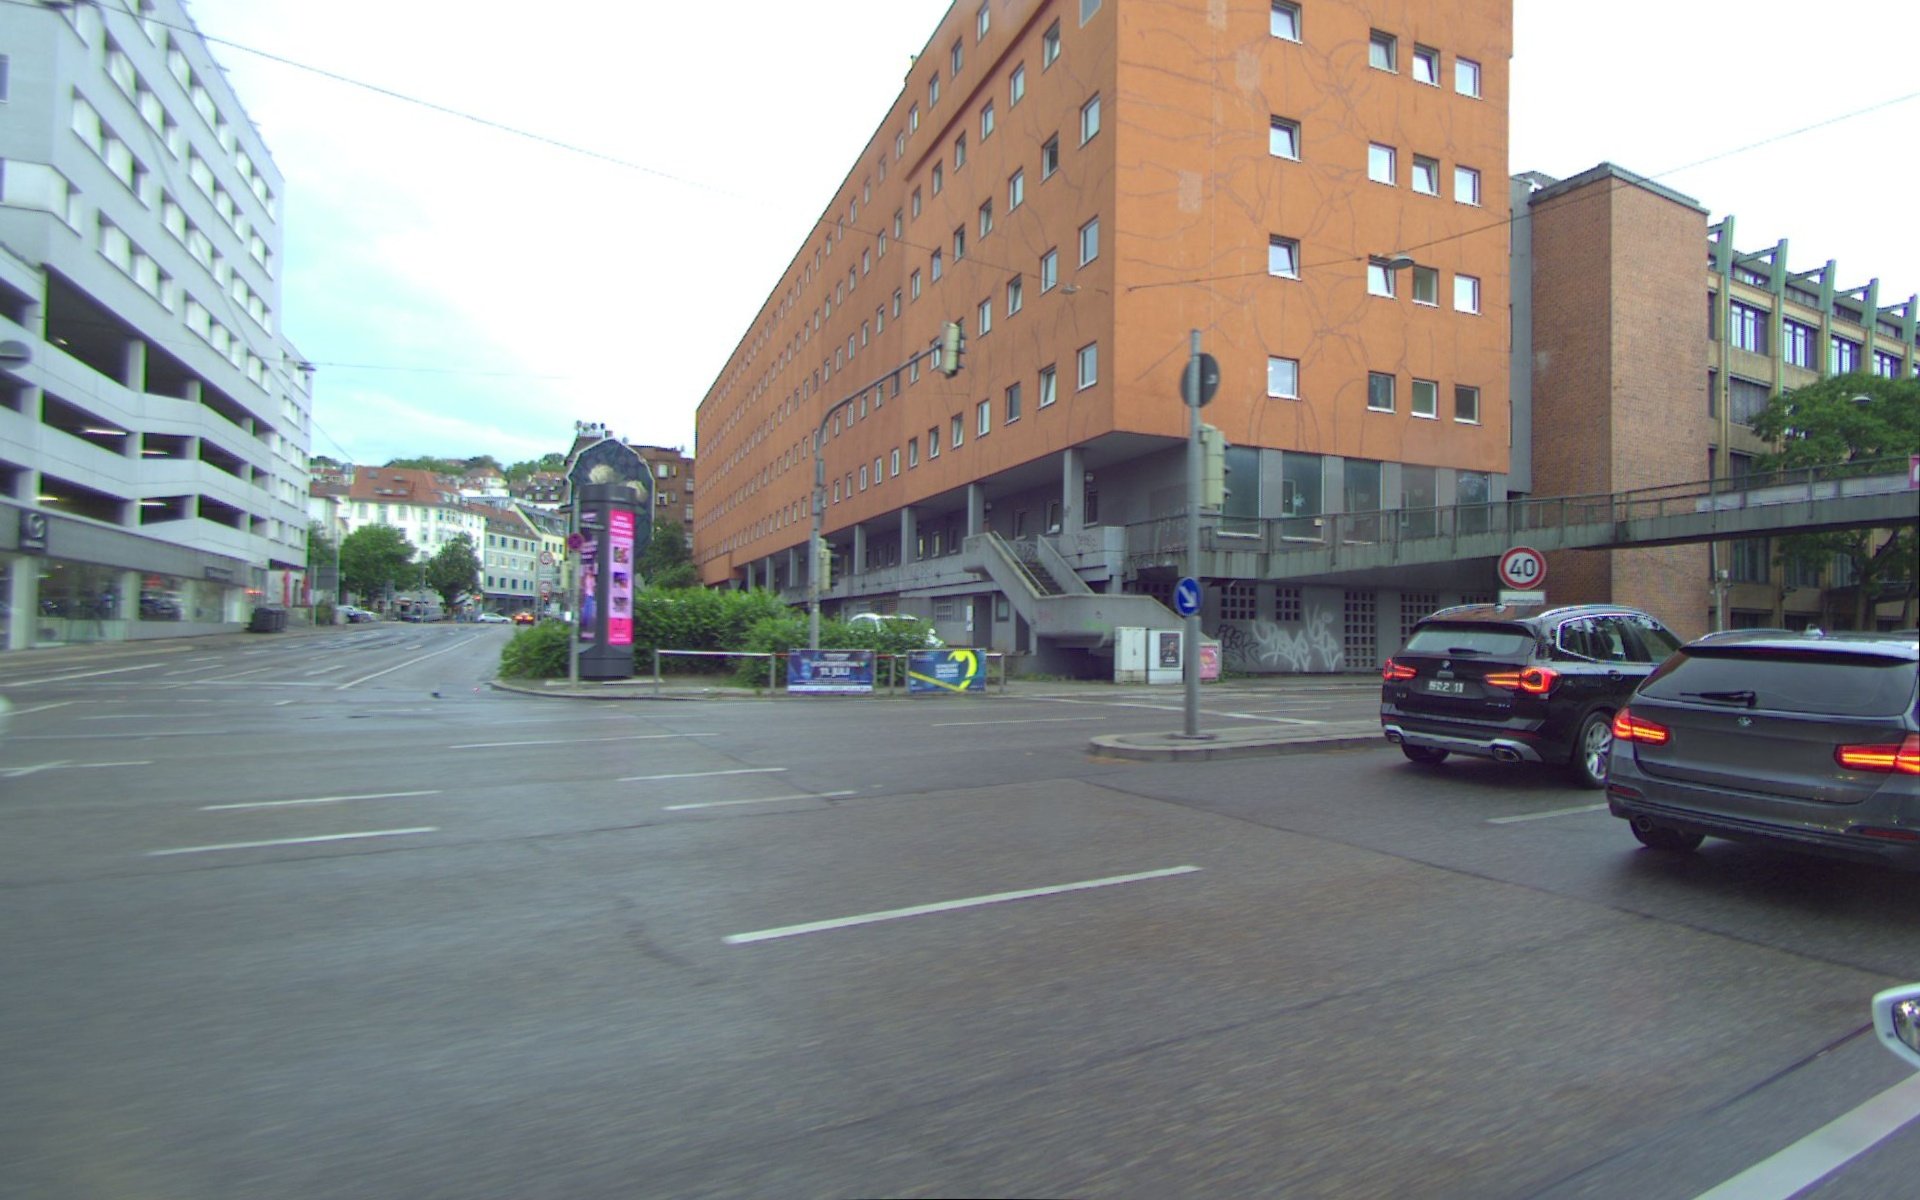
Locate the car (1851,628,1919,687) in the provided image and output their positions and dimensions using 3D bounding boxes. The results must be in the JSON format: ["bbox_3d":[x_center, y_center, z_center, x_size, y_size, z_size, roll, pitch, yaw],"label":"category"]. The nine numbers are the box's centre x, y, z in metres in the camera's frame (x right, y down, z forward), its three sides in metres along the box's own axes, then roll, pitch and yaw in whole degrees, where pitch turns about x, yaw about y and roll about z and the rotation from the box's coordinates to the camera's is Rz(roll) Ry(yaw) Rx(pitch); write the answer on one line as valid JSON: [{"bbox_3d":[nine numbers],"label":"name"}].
[{"bbox_3d":[26.064,1.563,27.347,3.667,1.519,1.593,2,-3,-30],"label":"car"}]

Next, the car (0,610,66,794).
[{"bbox_3d":[-9.556,0.749,7.197,4.353,1.412,1.822,2,-3,-30],"label":"car"}]

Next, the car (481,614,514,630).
[{"bbox_3d":[-61.045,2.935,132.585,3.891,1.960,1.938,2,1,-25],"label":"car"}]

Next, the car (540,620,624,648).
[{"bbox_3d":[-19.434,1.730,51.813,3.816,1.311,1.656,2,-1,-13],"label":"car"}]

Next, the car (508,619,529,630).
[{"bbox_3d":[-75.646,4.214,172.174,1.859,1.808,3.572,0,-1,3],"label":"car"}]

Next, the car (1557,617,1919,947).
[{"bbox_3d":[5.995,0.906,6.423,4.423,1.477,1.769,2,0,-29],"label":"car"}]

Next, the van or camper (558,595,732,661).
[{"bbox_3d":[-10.649,0.951,33.988,5.378,2.004,2.120,2,1,-25],"label":"van or camper"}]

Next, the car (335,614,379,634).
[{"bbox_3d":[-59.620,2.388,99.392,3.683,1.885,1.829,1,-1,-30],"label":"car"}]

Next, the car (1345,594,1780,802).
[{"bbox_3d":[6.161,0.867,10.178,4.391,1.678,1.801,2,1,-29],"label":"car"}]

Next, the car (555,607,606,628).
[{"bbox_3d":[-26.354,1.206,69.811,3.120,1.372,1.397,2,1,-15],"label":"car"}]

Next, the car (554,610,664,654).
[{"bbox_3d":[-14.129,1.291,40.433,4.029,1.633,1.705,2,1,-24],"label":"car"}]

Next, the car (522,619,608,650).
[{"bbox_3d":[-18.188,1.609,46.381,3.460,1.311,1.532,2,-1,-13],"label":"car"}]

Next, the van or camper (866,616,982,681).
[{"bbox_3d":[-1.092,1.297,28.069,1.888,1.649,3.976,1,-1,-24],"label":"van or camper"}]

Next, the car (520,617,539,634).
[{"bbox_3d":[-48.009,2.818,112.041,1.881,1.788,3.770,2,0,-22],"label":"car"}]
